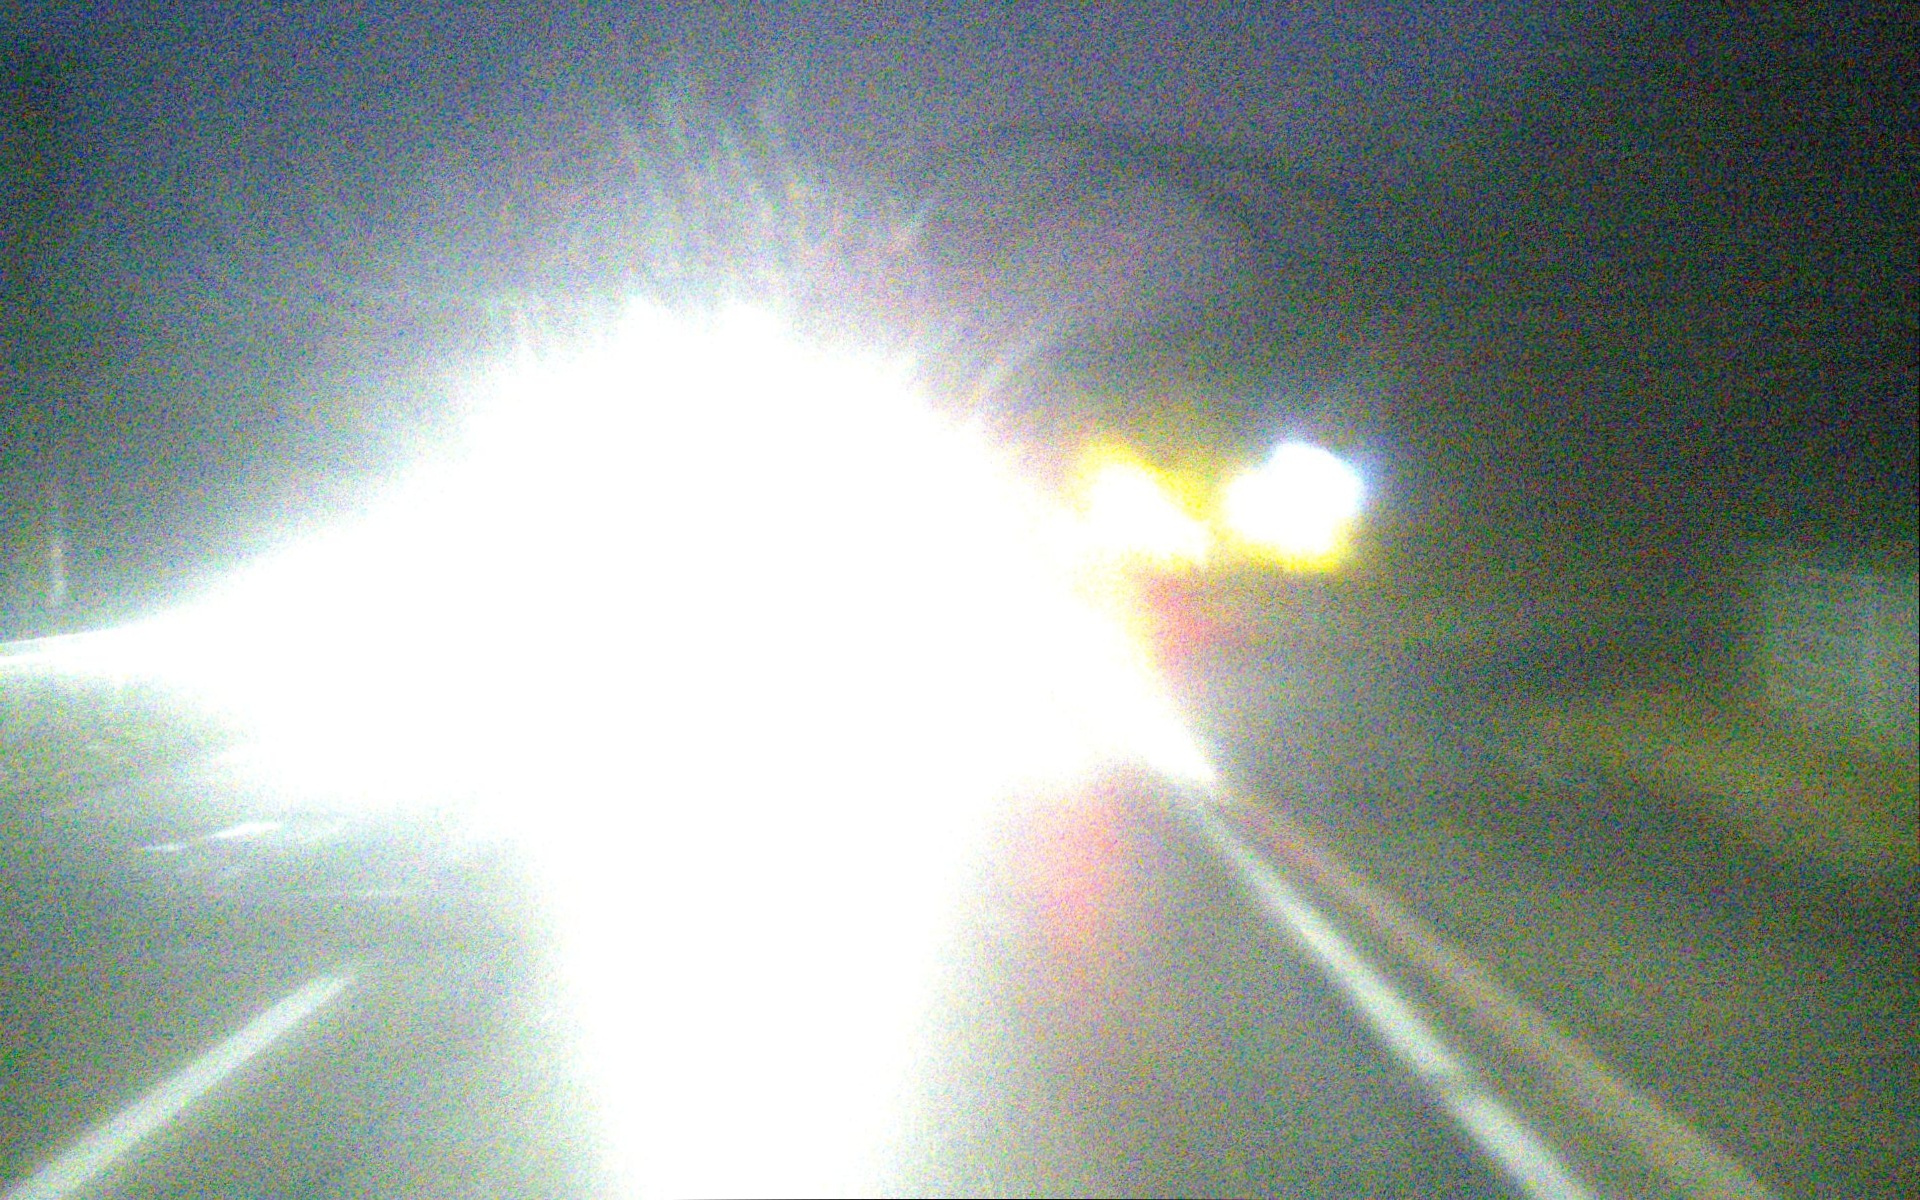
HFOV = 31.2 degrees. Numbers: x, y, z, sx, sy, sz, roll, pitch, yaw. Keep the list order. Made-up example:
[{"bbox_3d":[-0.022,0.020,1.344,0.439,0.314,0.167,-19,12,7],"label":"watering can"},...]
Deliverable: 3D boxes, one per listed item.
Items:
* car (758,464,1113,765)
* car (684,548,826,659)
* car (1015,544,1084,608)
[{"bbox_3d":[-0.113,0.013,29.617,2.715,2.299,6.101,-1,2,2],"label":"car"},{"bbox_3d":[-3.114,0.029,52.942,1.889,1.632,4.156,0,1,1],"label":"car"},{"bbox_3d":[2.798,-0.766,107.846,1.993,1.908,4.000,2,1,0],"label":"car"}]
